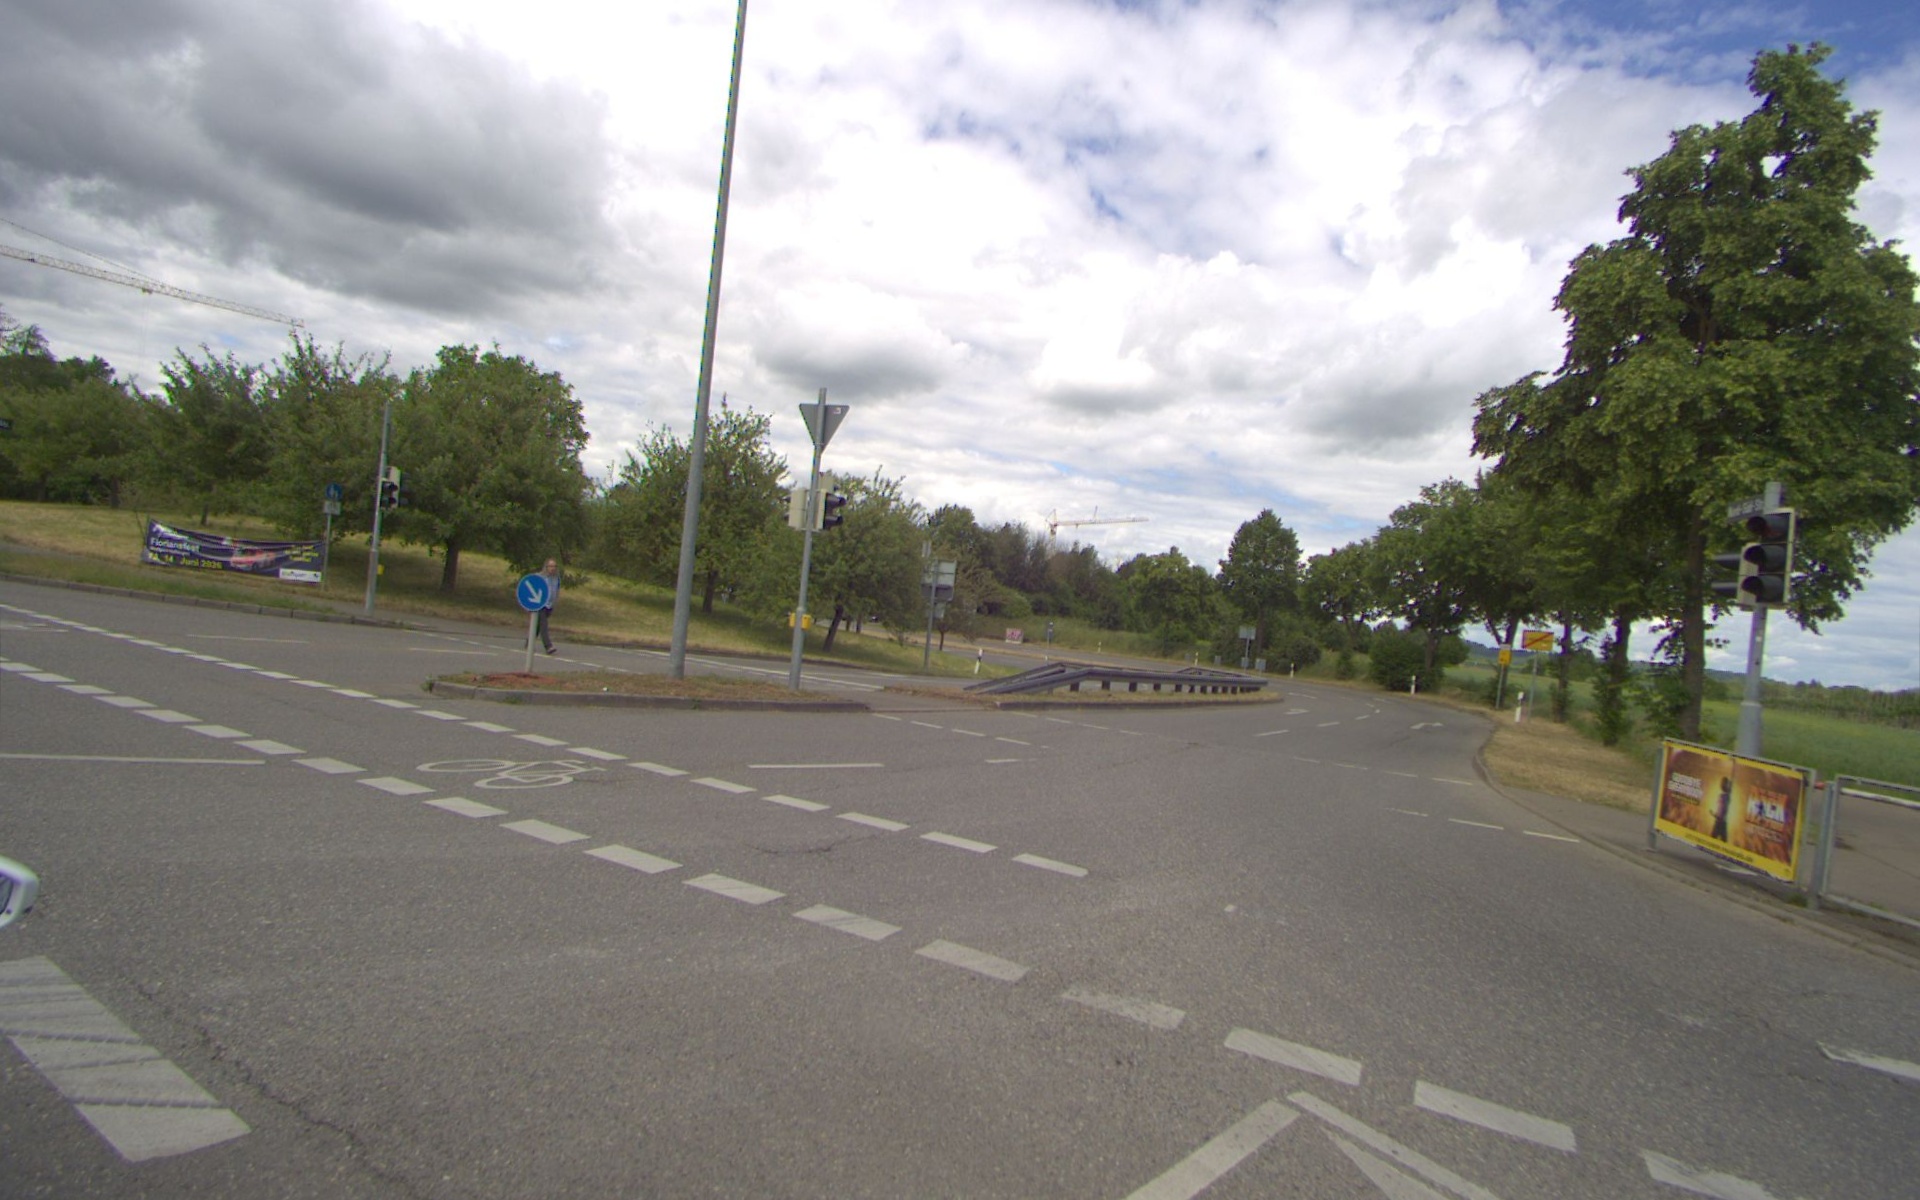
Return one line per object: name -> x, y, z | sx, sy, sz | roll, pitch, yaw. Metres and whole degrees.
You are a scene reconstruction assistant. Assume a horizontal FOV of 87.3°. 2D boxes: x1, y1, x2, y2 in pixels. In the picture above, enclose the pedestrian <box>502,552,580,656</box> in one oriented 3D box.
pedestrian -> -7.921, 0.073, 19.021 | 1.026, 1.814, 0.719 | 6, -1, 33
